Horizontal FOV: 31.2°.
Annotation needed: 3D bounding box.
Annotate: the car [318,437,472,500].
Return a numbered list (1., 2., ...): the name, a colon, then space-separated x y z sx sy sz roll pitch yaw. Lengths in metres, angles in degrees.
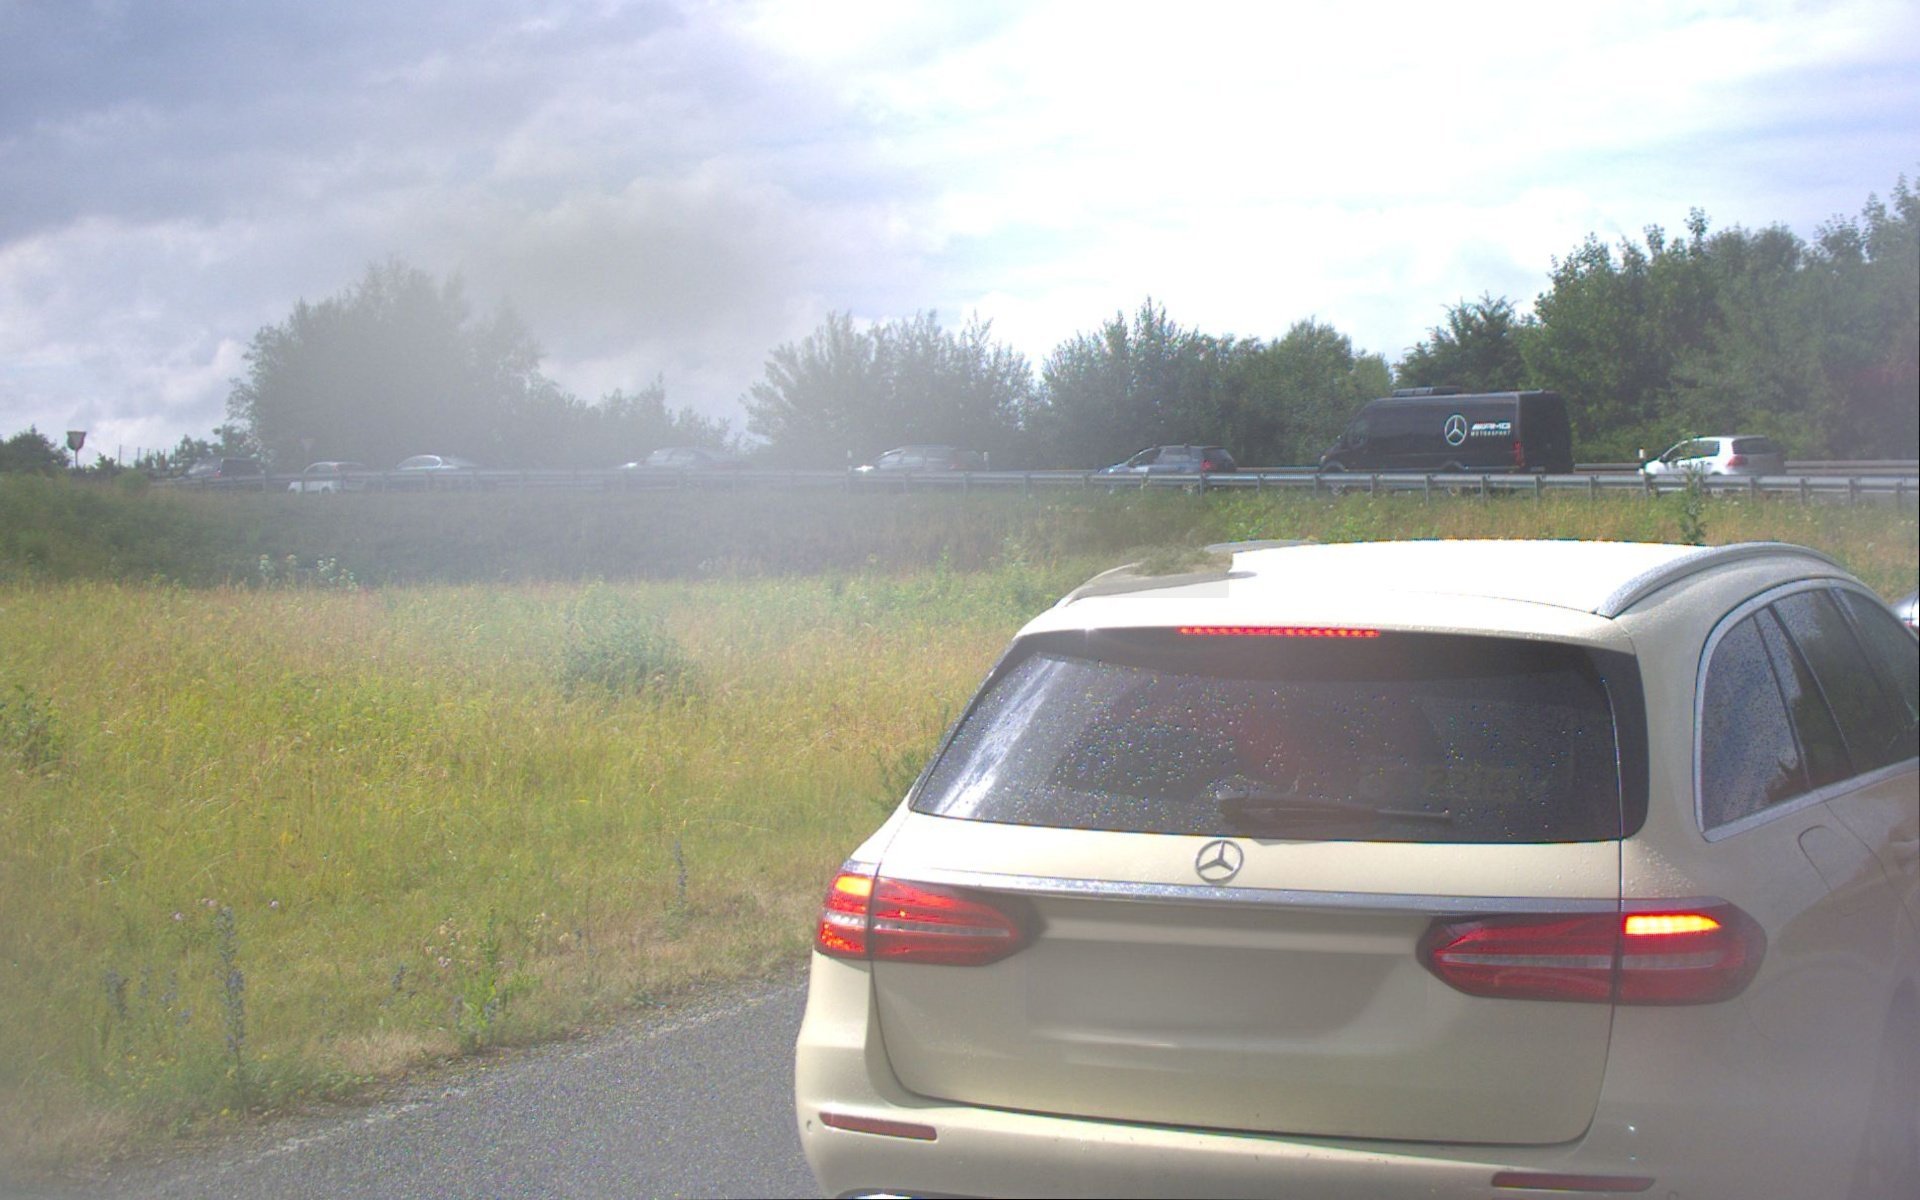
1. car: -18.801 -4.342 114.361 5.051 1.855 1.996 -2 0 35

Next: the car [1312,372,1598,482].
1. car: 12.549 -4.375 87.687 2.867 2.586 6.981 -3 3 -42

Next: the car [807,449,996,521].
1. car: -1.692 -3.293 99.256 5.048 1.855 1.997 -2 0 27

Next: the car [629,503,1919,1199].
1. car: 1.257 0.563 7.398 1.918 1.502 4.591 1 2 24

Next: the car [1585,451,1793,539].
1. car: 17.103 -2.439 80.898 1.993 1.855 5.058 -2 0 -27

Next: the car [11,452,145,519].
1. car: -27.640 -3.586 107.840 3.986 2.007 1.827 0 -2 -12

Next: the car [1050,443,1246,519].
1. car: 5.146 -3.244 94.430 5.051 1.855 1.996 -2 0 36

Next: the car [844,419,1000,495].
1. car: -1.109 -4.132 99.672 3.994 2.007 1.996 1 -2 32

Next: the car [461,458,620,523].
1. car: -13.258 -3.445 108.677 4.500 1.855 1.998 -2 0 19

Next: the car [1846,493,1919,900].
1. car: 5.106 0.294 14.253 1.721 1.519 3.994 -2 0 30
